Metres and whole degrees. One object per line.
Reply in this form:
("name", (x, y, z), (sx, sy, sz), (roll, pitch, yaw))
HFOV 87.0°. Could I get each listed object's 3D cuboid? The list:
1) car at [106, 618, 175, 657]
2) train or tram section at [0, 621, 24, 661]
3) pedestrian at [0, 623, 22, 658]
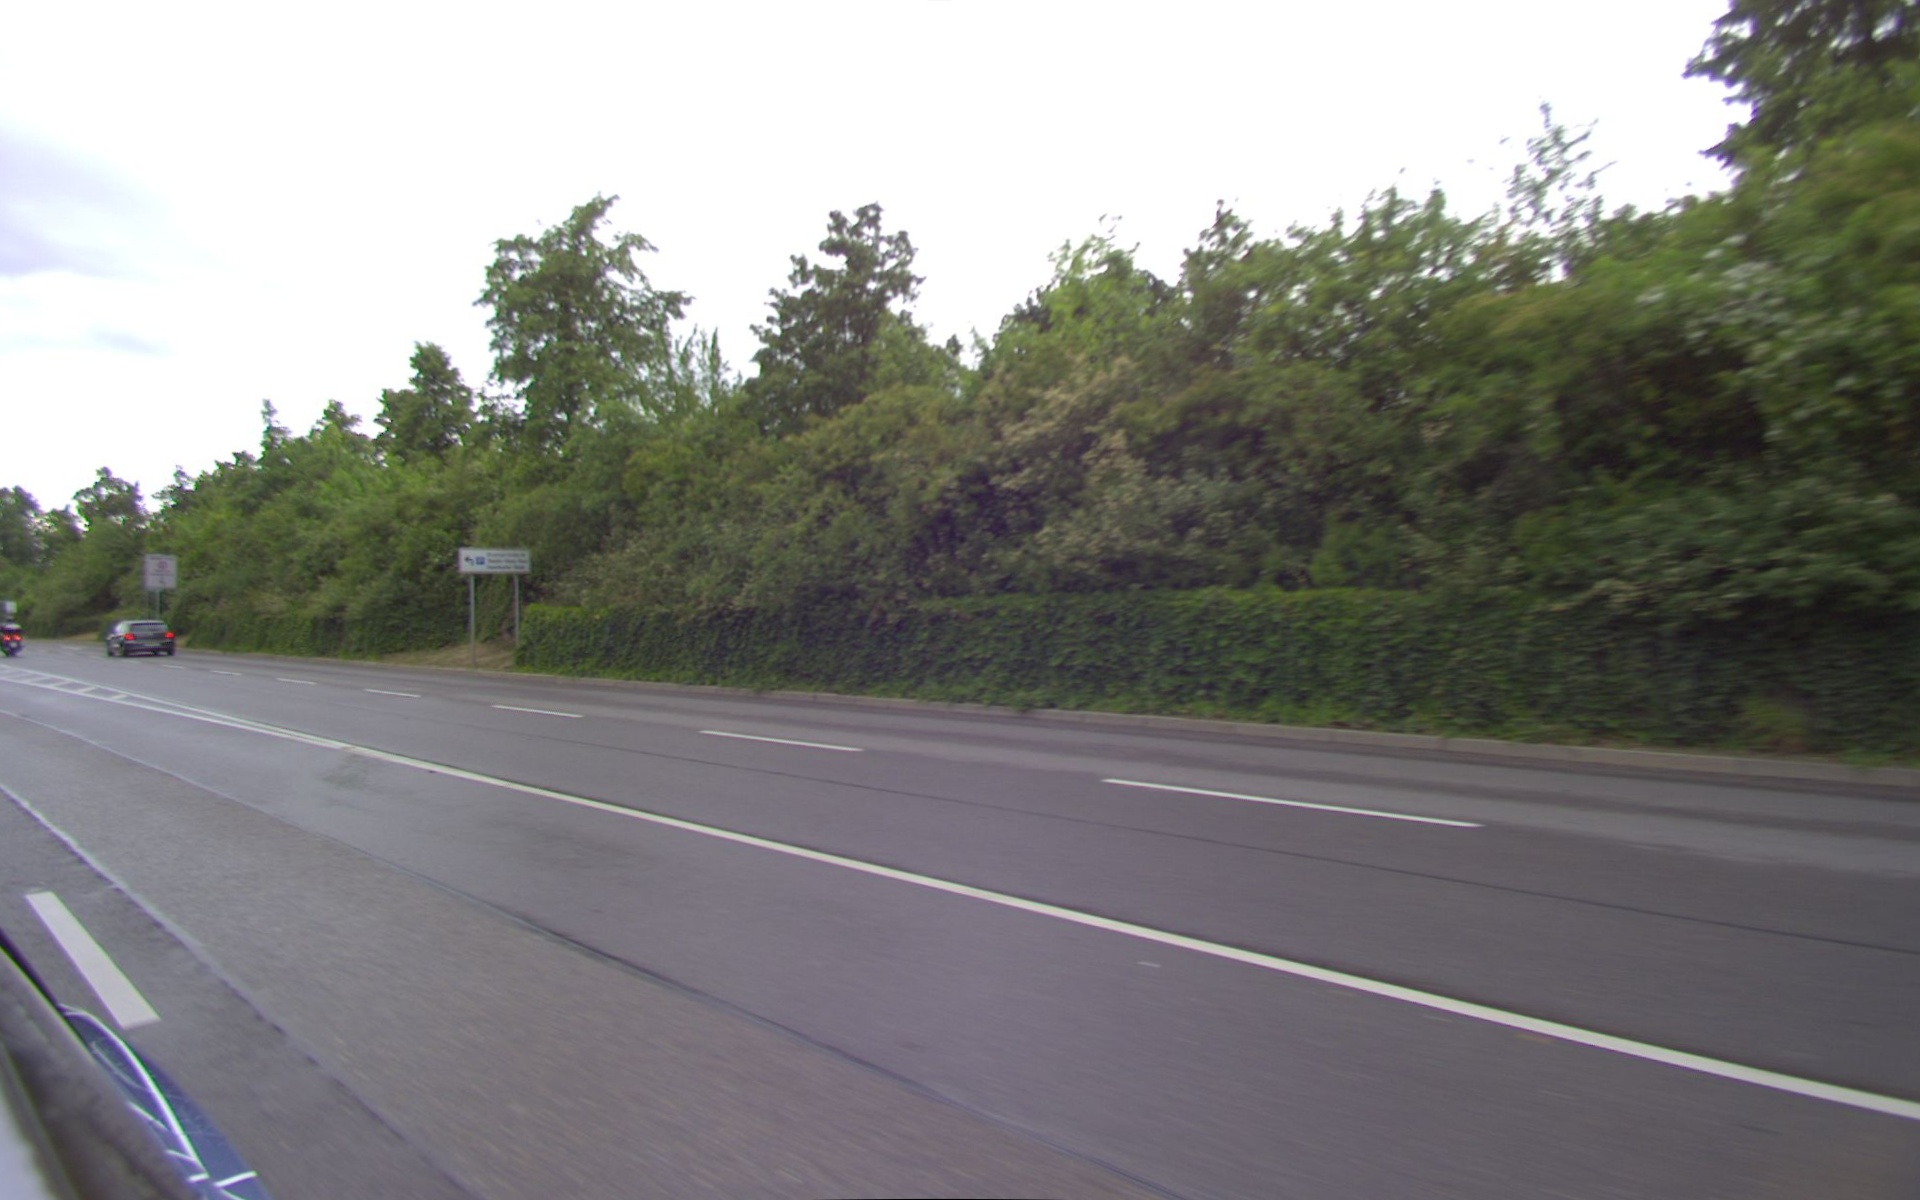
("car", (-32.323, 1.445, 39.893), (3.694, 1.448, 1.532), (-1, -1, 41))
("train or tram section", (-38.909, 1.644, 41.286), (2.382, 1.582, 0.783), (-1, 0, 41))
("pedestrian", (-38.905, 1.644, 41.284), (0.974, 1.394, 0.783), (-1, 0, 41))
